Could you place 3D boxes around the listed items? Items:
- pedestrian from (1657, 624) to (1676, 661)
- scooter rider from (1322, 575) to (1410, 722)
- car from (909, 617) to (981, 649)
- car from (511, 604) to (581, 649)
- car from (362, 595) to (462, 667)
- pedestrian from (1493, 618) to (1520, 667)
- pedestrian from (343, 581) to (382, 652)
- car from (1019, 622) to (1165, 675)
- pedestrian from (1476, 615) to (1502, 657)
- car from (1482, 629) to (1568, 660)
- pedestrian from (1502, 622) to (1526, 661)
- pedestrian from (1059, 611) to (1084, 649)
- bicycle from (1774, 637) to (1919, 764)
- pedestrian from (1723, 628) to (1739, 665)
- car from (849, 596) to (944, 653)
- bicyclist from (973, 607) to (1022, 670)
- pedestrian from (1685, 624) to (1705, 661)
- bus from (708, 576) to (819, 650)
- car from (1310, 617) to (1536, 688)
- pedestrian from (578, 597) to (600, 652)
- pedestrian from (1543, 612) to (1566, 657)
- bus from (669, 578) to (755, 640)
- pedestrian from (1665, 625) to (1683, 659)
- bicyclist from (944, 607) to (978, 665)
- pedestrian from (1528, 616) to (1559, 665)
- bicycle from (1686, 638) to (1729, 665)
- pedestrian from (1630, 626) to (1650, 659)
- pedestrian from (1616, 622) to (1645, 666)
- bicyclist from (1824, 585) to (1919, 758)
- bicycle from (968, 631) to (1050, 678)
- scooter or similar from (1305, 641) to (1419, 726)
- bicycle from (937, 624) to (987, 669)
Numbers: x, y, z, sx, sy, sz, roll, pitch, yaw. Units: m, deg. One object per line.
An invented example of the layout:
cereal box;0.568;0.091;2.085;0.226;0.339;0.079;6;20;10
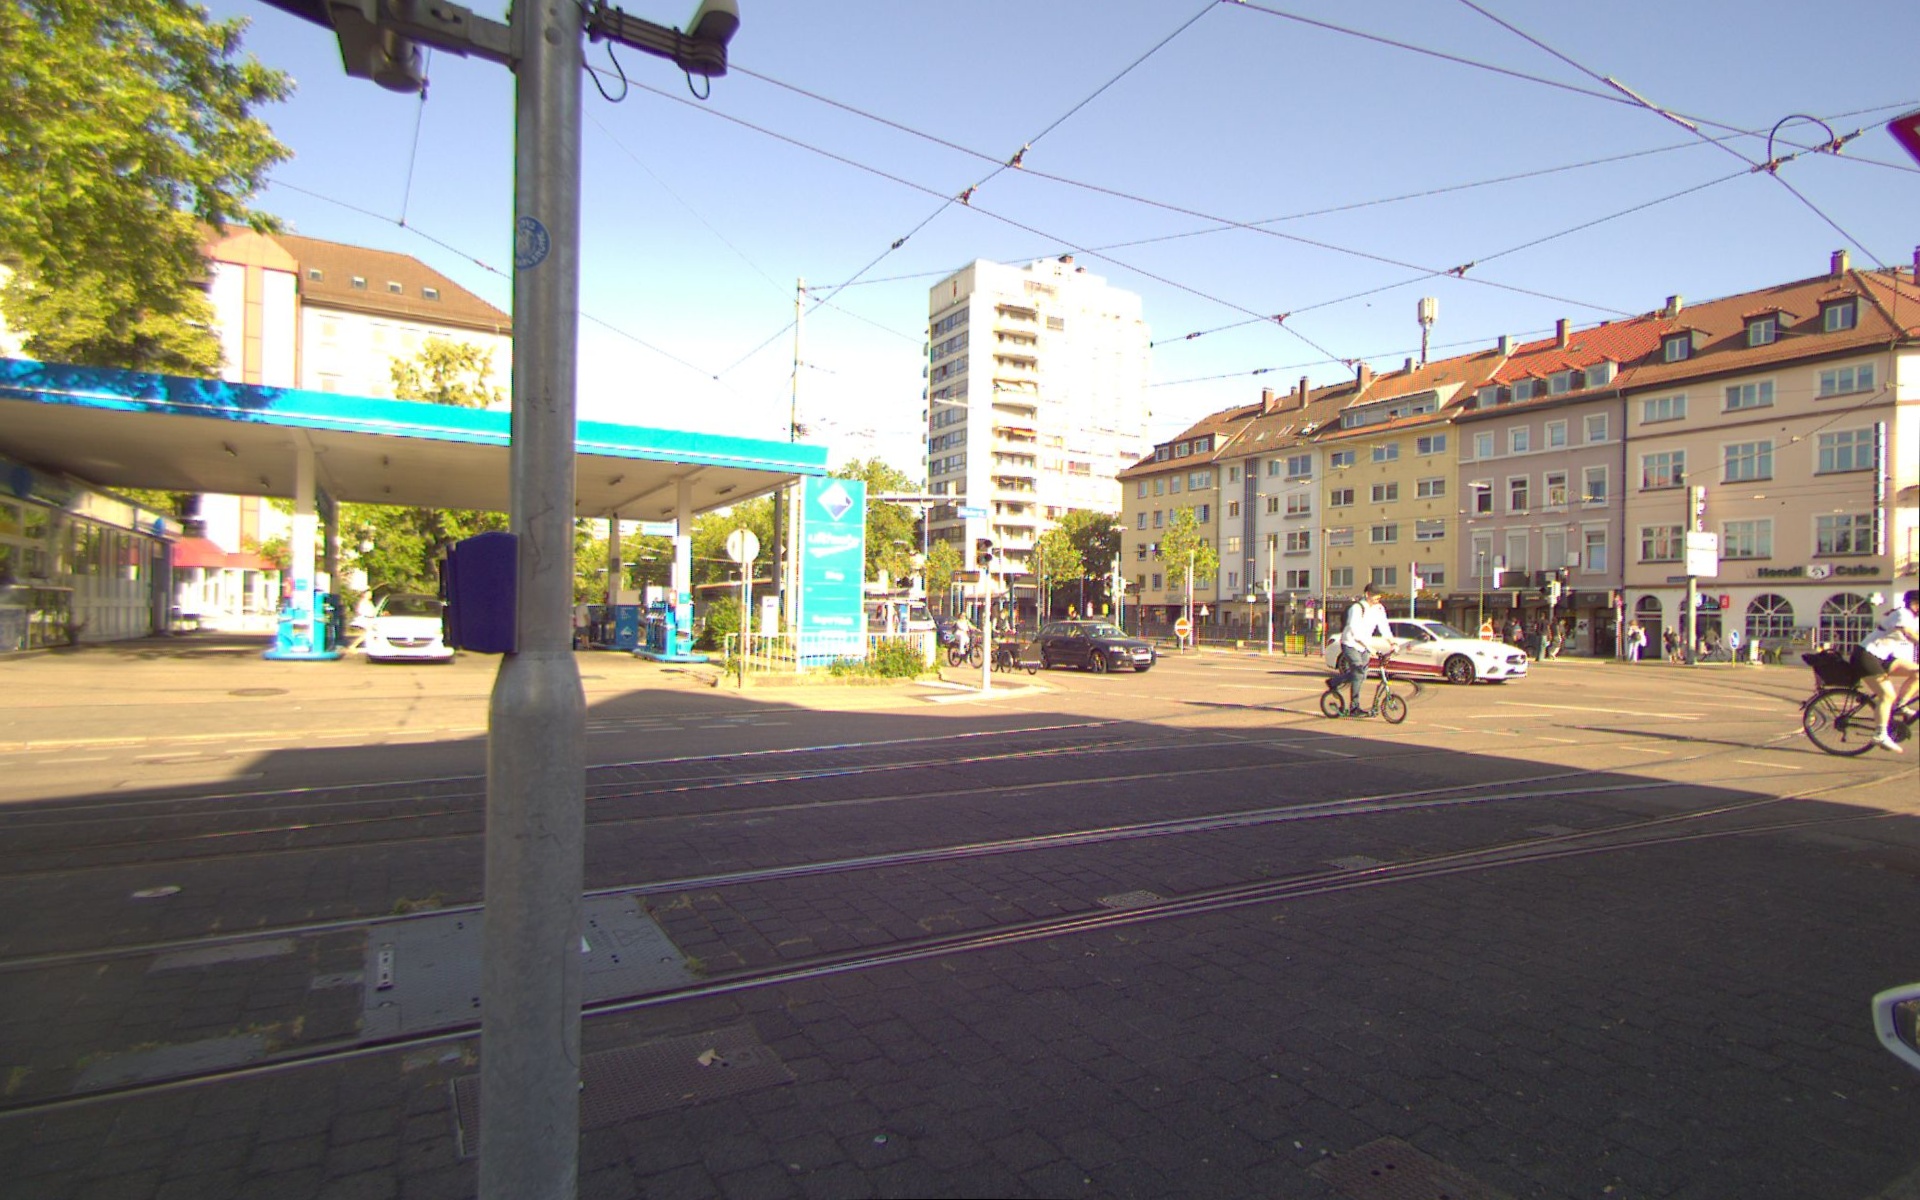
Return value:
pedestrian;33.899;2.029;48.170;0.731;1.704;0.626;0;-1;35
scooter rider;5.552;0.648;13.758;0.788;1.937;0.791;1;0;-30
car;-0.778;1.531;47.864;1.697;1.439;4.149;1;-1;-28
car;-13.582;0.852;32.873;1.697;1.360;3.970;1;-1;-28
car;-12.362;0.665;22.552;1.793;1.461;3.966;1;-1;-31
pedestrian;21.602;1.673;39.689;0.769;1.874;0.625;1;-1;-30
pedestrian;-14.675;0.415;24.697;0.751;1.715;0.583;1;-1;-28
car;3.645;1.312;28.324;1.630;1.399;4.241;1;-2;-36
pedestrian;21.378;1.458;40.582;0.565;1.657;0.737;1;-1;-30
car;30.740;2.404;54.770;1.795;1.511;3.715;2;0;-27
pedestrian;22.981;1.709;41.700;0.554;1.602;0.694;1;-1;-35
pedestrian;4.841;1.306;43.664;0.788;1.632;0.766;1;-1;-36
bicycle;9.791;1.032;10.470;0.736;1.239;1.909;1;-1;-37
pedestrian;26.977;1.634;35.155;0.447;1.270;0.361;1;-1;-41
car;-2.969;1.092;46.049;2.059;2.465;5.079;0;0;-34
bicyclist;1.004;1.025;27.141;0.923;1.659;1.020;1;-1;-28
pedestrian;34.394;1.982;46.988;0.731;1.704;0.626;0;-1;35
bus;-10.458;0.568;52.564;2.748;3.504;9.364;0;1;-31
car;10.770;1.157;23.706;1.725;1.492;4.639;1;-1;-36
pedestrian;-11.865;0.775;32.084;0.579;1.715;0.756;1;-1;-25
pedestrian;23.828;1.376;40.257;0.553;1.810;0.557;1;-1;-30
bus;-15.022;0.451;60.313;2.755;3.504;8.571;0;1;-30
pedestrian;36.498;2.122;51.331;0.731;1.704;0.626;0;-1;35
bicyclist;0.032;1.098;30.538;0.725;1.737;0.794;1;-2;-31
pedestrian;22.733;1.572;39.136;0.714;1.853;0.763;1;-1;-30
bicycle;37.627;2.572;50.586;1.693;1.293;0.385;0;-1;44
pedestrian;35.962;2.238;53.155;0.623;1.704;0.734;1;-1;-41
pedestrian;26.525;1.734;39.751;0.621;1.704;0.737;1;-1;-30
bicyclist;9.756;0.725;10.524;0.727;1.735;0.932;1;-1;-37
bicycle;1.266;1.422;26.628;1.047;1.116;2.500;1;-1;-29
scooter or similar;5.503;1.117;13.824;0.558;1.057;1.424;1;-1;-30
bicycle;0.042;1.416;30.554;0.616;1.316;1.931;1;-2;-31
